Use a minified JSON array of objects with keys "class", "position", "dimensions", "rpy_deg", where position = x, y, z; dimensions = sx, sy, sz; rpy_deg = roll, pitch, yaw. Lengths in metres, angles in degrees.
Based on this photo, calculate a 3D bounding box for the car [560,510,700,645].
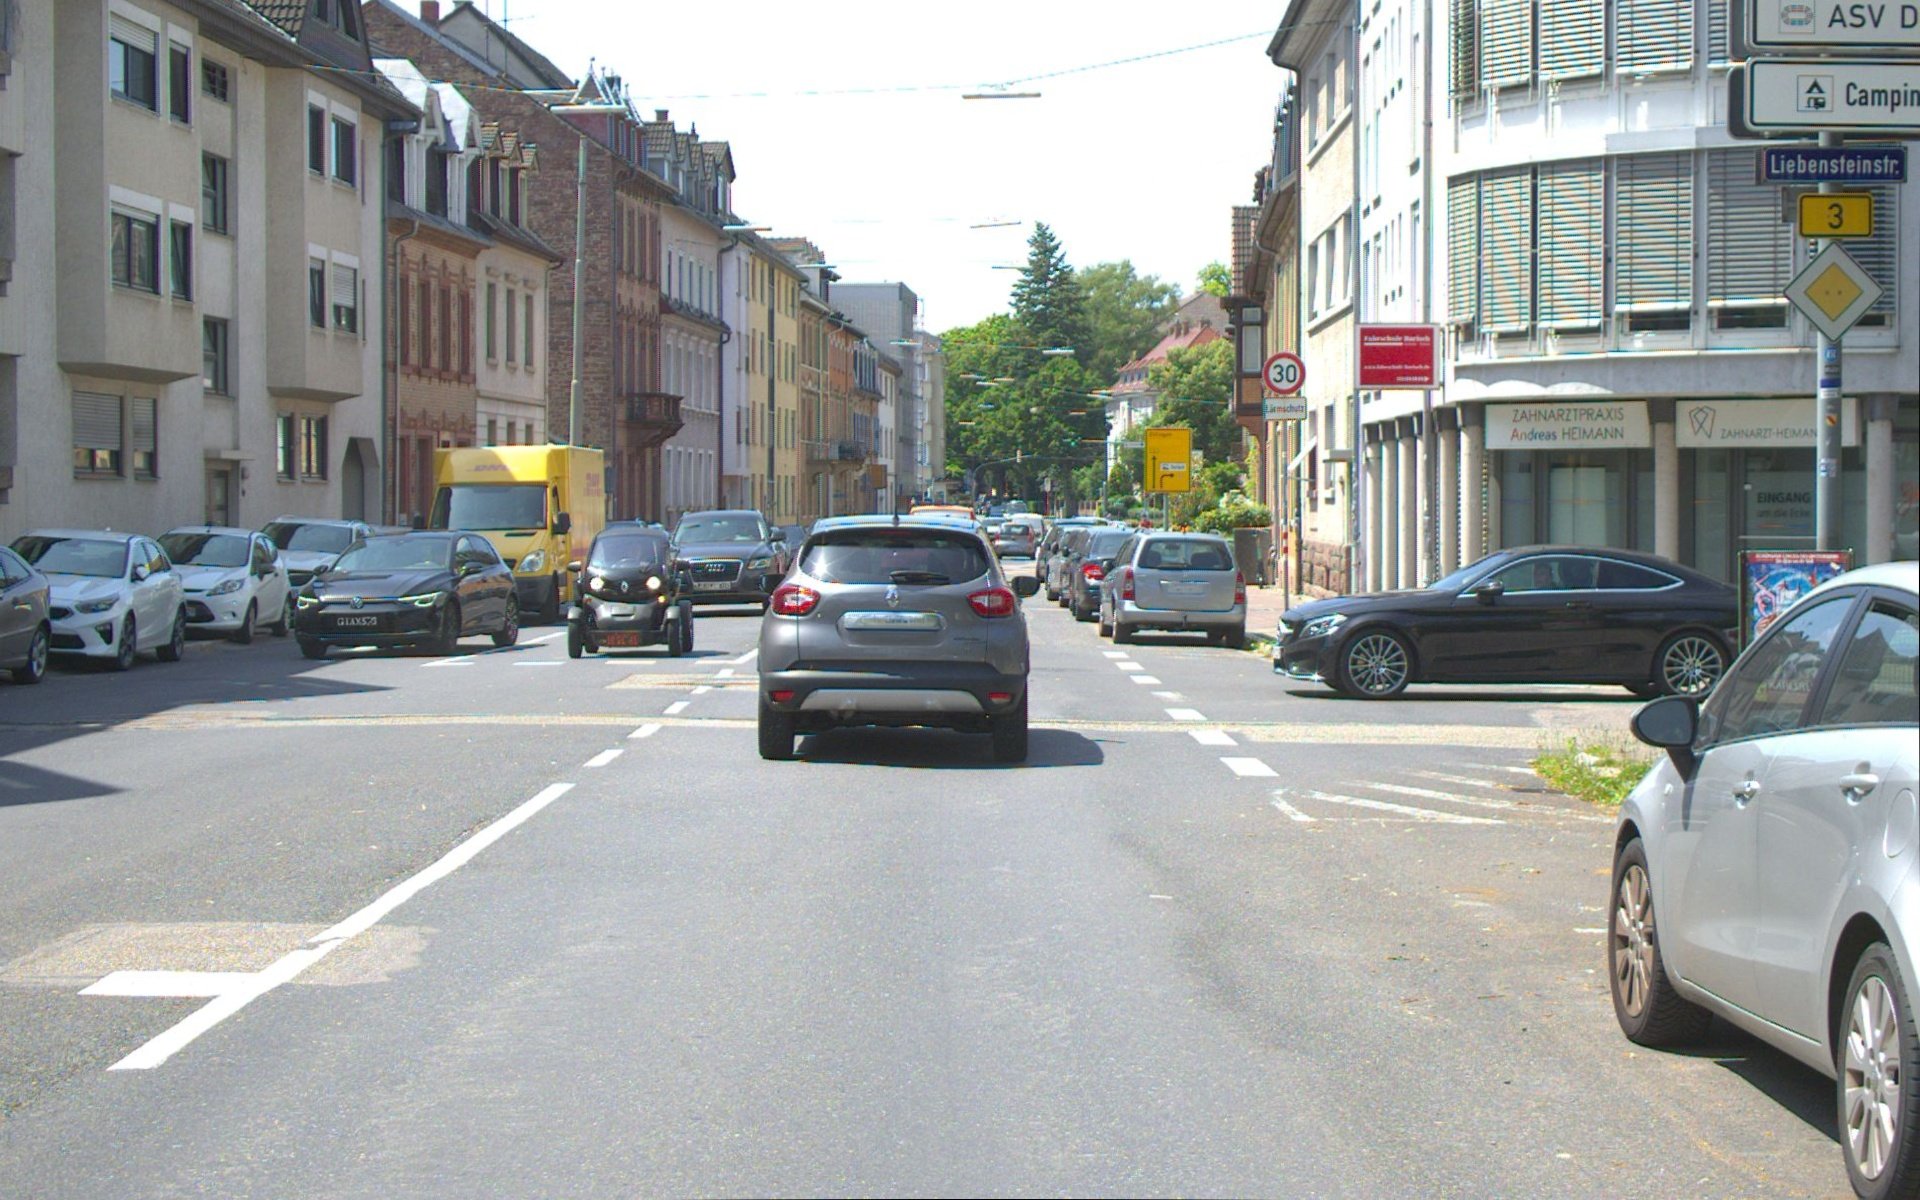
[{"class":"car","position":[-3.674,-0.278,38.451],"dimensions":[1.496,1.454,2.723],"rpy_deg":[0,2,-5]}]

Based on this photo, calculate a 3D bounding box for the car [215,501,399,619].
[{"class":"car","position":[-9.575,-0.607,50.729],"dimensions":[1.839,1.590,4.387],"rpy_deg":[2,1,0]}]

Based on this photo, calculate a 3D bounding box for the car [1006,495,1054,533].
[{"class":"car","position":[2.906,-3.549,141.671],"dimensions":[1.763,1.554,3.942],"rpy_deg":[0,2,4]}]

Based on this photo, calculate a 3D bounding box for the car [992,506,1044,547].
[{"class":"car","position":[2.270,-2.867,133.747],"dimensions":[1.763,1.554,3.942],"rpy_deg":[0,2,4]}]

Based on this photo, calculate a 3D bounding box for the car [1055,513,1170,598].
[{"class":"car","position":[2.607,-0.792,59.617],"dimensions":[1.651,1.415,4.049],"rpy_deg":[0,2,-2]}]

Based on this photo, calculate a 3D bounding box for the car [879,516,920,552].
[{"class":"car","position":[-2.896,-3.188,165.486],"dimensions":[1.904,1.614,4.303],"rpy_deg":[-2,1,-1]}]

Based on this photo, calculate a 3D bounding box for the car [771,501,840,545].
[{"class":"car","position":[-5.392,-2.695,120.594],"dimensions":[1.840,1.417,4.557],"rpy_deg":[-3,1,4]}]

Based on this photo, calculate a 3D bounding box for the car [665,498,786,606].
[{"class":"car","position":[-3.681,-0.781,54.373],"dimensions":[1.812,1.615,4.442],"rpy_deg":[-1,1,-3]}]

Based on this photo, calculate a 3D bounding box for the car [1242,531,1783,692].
[{"class":"car","position":[5.000,0.084,31.564],"dimensions":[4.580,1.360,2.000],"rpy_deg":[1,2,-2]}]

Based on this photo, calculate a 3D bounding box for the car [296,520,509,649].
[{"class":"car","position":[-6.467,-0.226,40.249],"dimensions":[1.742,1.414,4.223],"rpy_deg":[0,1,1]}]

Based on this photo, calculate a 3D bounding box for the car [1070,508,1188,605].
[{"class":"car","position":[2.623,-0.713,54.084],"dimensions":[1.711,1.468,4.438],"rpy_deg":[0,2,1]}]

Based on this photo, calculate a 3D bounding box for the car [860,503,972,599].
[{"class":"car","position":[-0.748,-0.895,61.176],"dimensions":[1.812,1.615,4.441],"rpy_deg":[-1,1,1]}]

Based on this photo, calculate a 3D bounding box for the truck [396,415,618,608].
[{"class":"truck","position":[-6.973,-1.385,53.813],"dimensions":[2.225,2.761,7.564],"rpy_deg":[-1,1,1]}]

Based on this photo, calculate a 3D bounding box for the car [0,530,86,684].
[{"class":"car","position":[-9.773,0.030,32.533],"dimensions":[1.840,1.379,4.327],"rpy_deg":[2,1,0]}]

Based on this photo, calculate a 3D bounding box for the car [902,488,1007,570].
[{"class":"car","position":[-0.108,-1.821,86.826],"dimensions":[1.994,2.006,4.465],"rpy_deg":[0,2,9]}]

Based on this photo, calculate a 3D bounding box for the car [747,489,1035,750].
[{"class":"car","position":[-0.553,0.060,23.416],"dimensions":[1.743,1.611,4.001],"rpy_deg":[1,2,-4]}]

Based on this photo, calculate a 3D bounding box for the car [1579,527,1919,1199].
[{"class":"car","position":[2.819,0.570,8.729],"dimensions":[1.767,1.480,3.891],"rpy_deg":[1,1,0]}]

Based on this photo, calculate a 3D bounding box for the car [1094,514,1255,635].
[{"class":"car","position":[2.744,-0.364,44.821],"dimensions":[1.677,1.449,4.143],"rpy_deg":[2,1,-2]}]

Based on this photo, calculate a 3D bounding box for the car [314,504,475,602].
[{"class":"car","position":[-9.364,-0.795,57.249],"dimensions":[1.840,1.483,4.387],"rpy_deg":[2,1,1]}]

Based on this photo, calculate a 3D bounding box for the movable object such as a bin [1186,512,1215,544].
[{"class":"movable object such as a bin","position":[6.885,-2.060,98.547],"dimensions":[0.788,0.904,0.539],"rpy_deg":[0,1,0]}]

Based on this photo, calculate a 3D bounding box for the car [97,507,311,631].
[{"class":"car","position":[-9.923,-0.438,45.443],"dimensions":[1.839,1.484,4.387],"rpy_deg":[2,1,0]}]

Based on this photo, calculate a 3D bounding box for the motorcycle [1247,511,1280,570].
[{"class":"motorcycle","position":[6.348,-1.254,71.950],"dimensions":[0.596,1.220,1.361],"rpy_deg":[0,1,2]}]

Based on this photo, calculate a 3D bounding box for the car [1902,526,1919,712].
[{"class":"car","position":[9.988,0.193,28.306],"dimensions":[3.986,1.549,1.571],"rpy_deg":[1,1,-3]}]

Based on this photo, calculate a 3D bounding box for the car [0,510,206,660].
[{"class":"car","position":[-9.689,-0.209,37.823],"dimensions":[1.839,1.484,4.387],"rpy_deg":[2,1,-1]}]
